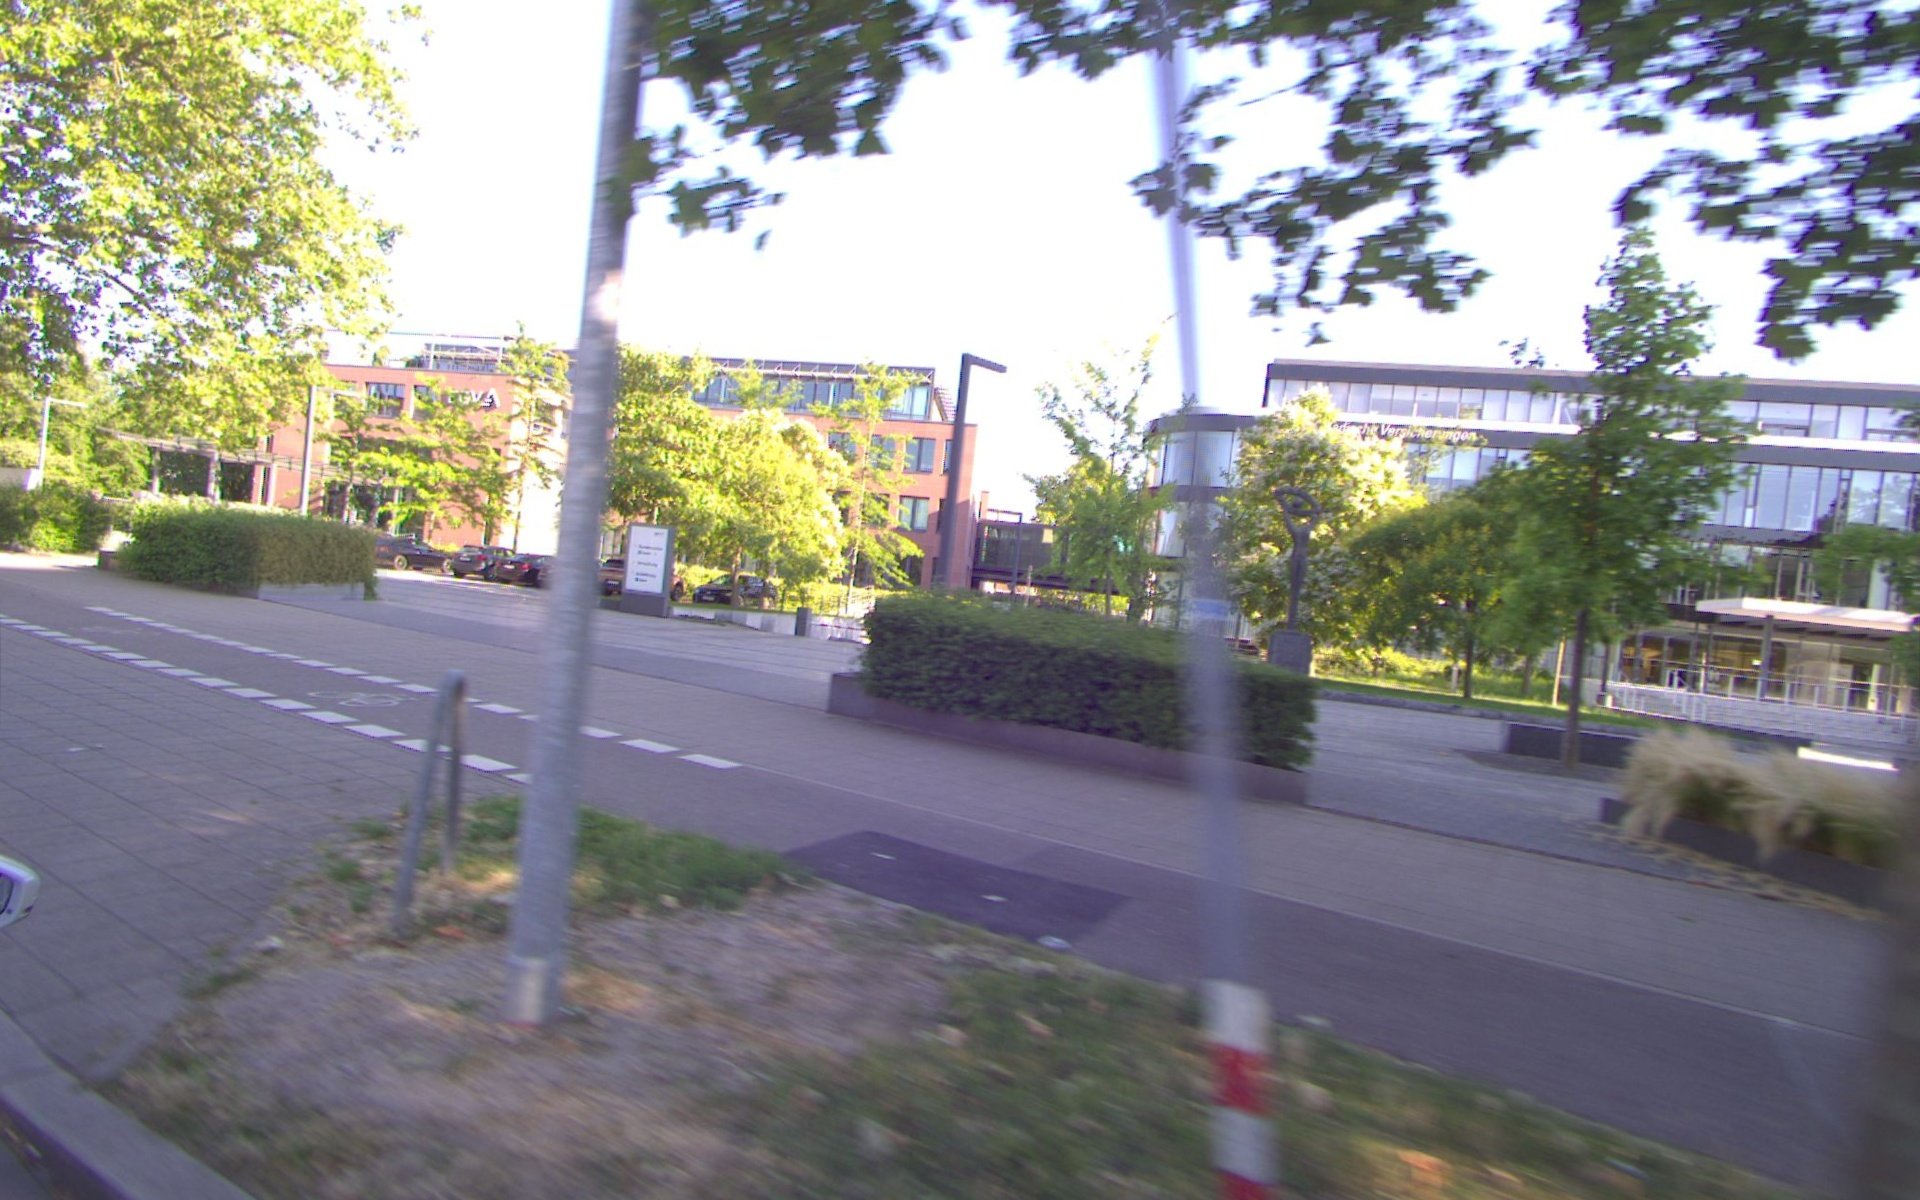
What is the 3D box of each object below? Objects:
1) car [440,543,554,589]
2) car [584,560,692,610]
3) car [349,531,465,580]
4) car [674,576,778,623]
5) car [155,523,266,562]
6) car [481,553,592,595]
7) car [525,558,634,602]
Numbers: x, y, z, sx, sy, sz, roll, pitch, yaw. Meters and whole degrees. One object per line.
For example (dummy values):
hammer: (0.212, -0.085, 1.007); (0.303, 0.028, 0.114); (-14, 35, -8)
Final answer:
car: (-20.314, -1.446, 44.385); (2.033, 1.618, 4.686); (7, 1, 13)
car: (-13.363, -0.561, 42.115); (2.033, 1.735, 4.686); (7, 1, 13)
car: (-24.616, -1.932, 45.004); (1.813, 1.735, 4.686); (6, 1, 12)
car: (-9.223, 0.024, 40.079); (2.033, 1.503, 4.689); (7, 0, 13)
car: (-38.022, -2.889, 51.171); (1.962, 1.526, 4.174); (6, 1, 12)
car: (-18.049, -1.076, 43.146); (1.936, 1.401, 4.686); (7, 1, 13)
car: (-15.924, -0.801, 42.377); (1.925, 1.485, 4.686); (7, 1, 13)
